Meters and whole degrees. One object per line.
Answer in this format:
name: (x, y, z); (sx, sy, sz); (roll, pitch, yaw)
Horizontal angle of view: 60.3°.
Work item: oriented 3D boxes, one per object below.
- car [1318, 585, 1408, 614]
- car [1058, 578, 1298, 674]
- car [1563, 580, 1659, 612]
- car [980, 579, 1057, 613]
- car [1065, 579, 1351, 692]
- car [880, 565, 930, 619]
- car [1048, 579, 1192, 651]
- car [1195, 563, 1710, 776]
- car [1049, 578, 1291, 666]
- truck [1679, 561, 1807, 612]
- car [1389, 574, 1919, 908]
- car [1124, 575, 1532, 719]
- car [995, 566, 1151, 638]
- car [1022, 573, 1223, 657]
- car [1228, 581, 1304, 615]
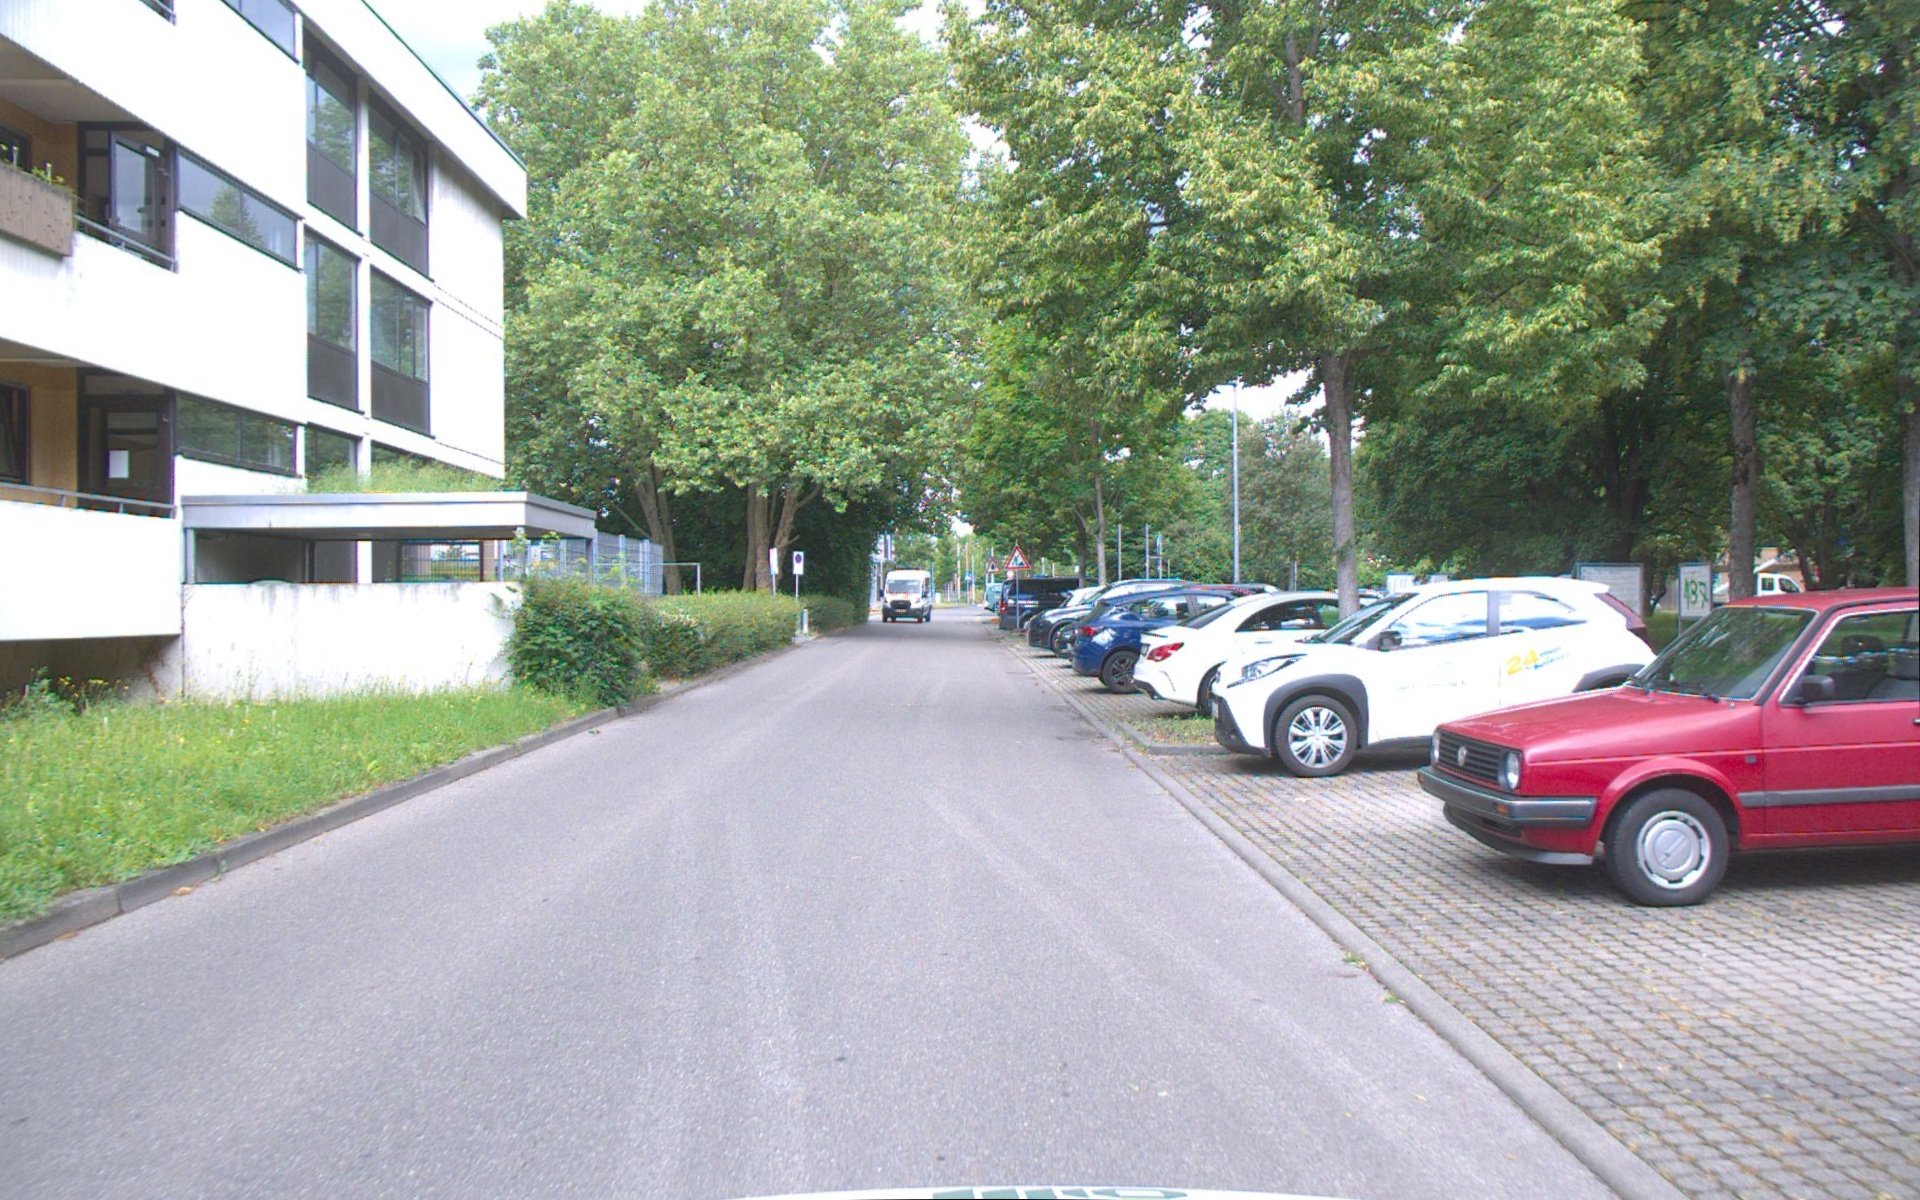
car: (20.736, -0.031, 85.135); (4.299, 1.453, 1.704); (0, 0, 5)
car: (3.889, 0.452, 29.932); (3.993, 1.544, 1.849); (-2, 0, -5)
car: (33.000, -0.191, 83.920); (4.192, 1.553, 1.704); (-1, 0, 6)
car: (3.734, -0.254, 106.711); (4.870, 2.006, 1.847); (-2, 0, 0)
car: (3.642, 0.512, 24.821); (3.989, 1.482, 1.851); (-2, 0, 0)
car: (-2.660, -0.403, 81.204); (2.088, 2.519, 6.277); (1, 0, 1)
car: (3.884, 0.343, 40.552); (3.310, 1.602, 1.796); (-2, 1, 0)
car: (3.980, 0.544, 13.886); (3.760, 1.542, 1.881); (-2, 0, 2)
car: (4.082, 0.410, 32.778); (4.541, 1.543, 1.983); (-2, 1, 1)
truck: (39.429, -0.658, 83.365); (5.389, 2.468, 2.194); (0, 0, 6)
car: (4.465, 0.613, 8.536); (3.972, 1.447, 1.816); (-2, 0, -2)
car: (4.260, 0.528, 19.643); (4.394, 1.480, 1.846); (-2, 0, -1)
car: (3.586, 0.044, 53.297); (4.852, 2.048, 2.166); (-3, 0, 0)
car: (3.661, 0.314, 37.896); (4.325, 1.705, 2.082); (-2, 1, -1)
car: (15.827, -0.106, 85.673); (3.699, 1.697, 1.769); (-1, 0, 7)
